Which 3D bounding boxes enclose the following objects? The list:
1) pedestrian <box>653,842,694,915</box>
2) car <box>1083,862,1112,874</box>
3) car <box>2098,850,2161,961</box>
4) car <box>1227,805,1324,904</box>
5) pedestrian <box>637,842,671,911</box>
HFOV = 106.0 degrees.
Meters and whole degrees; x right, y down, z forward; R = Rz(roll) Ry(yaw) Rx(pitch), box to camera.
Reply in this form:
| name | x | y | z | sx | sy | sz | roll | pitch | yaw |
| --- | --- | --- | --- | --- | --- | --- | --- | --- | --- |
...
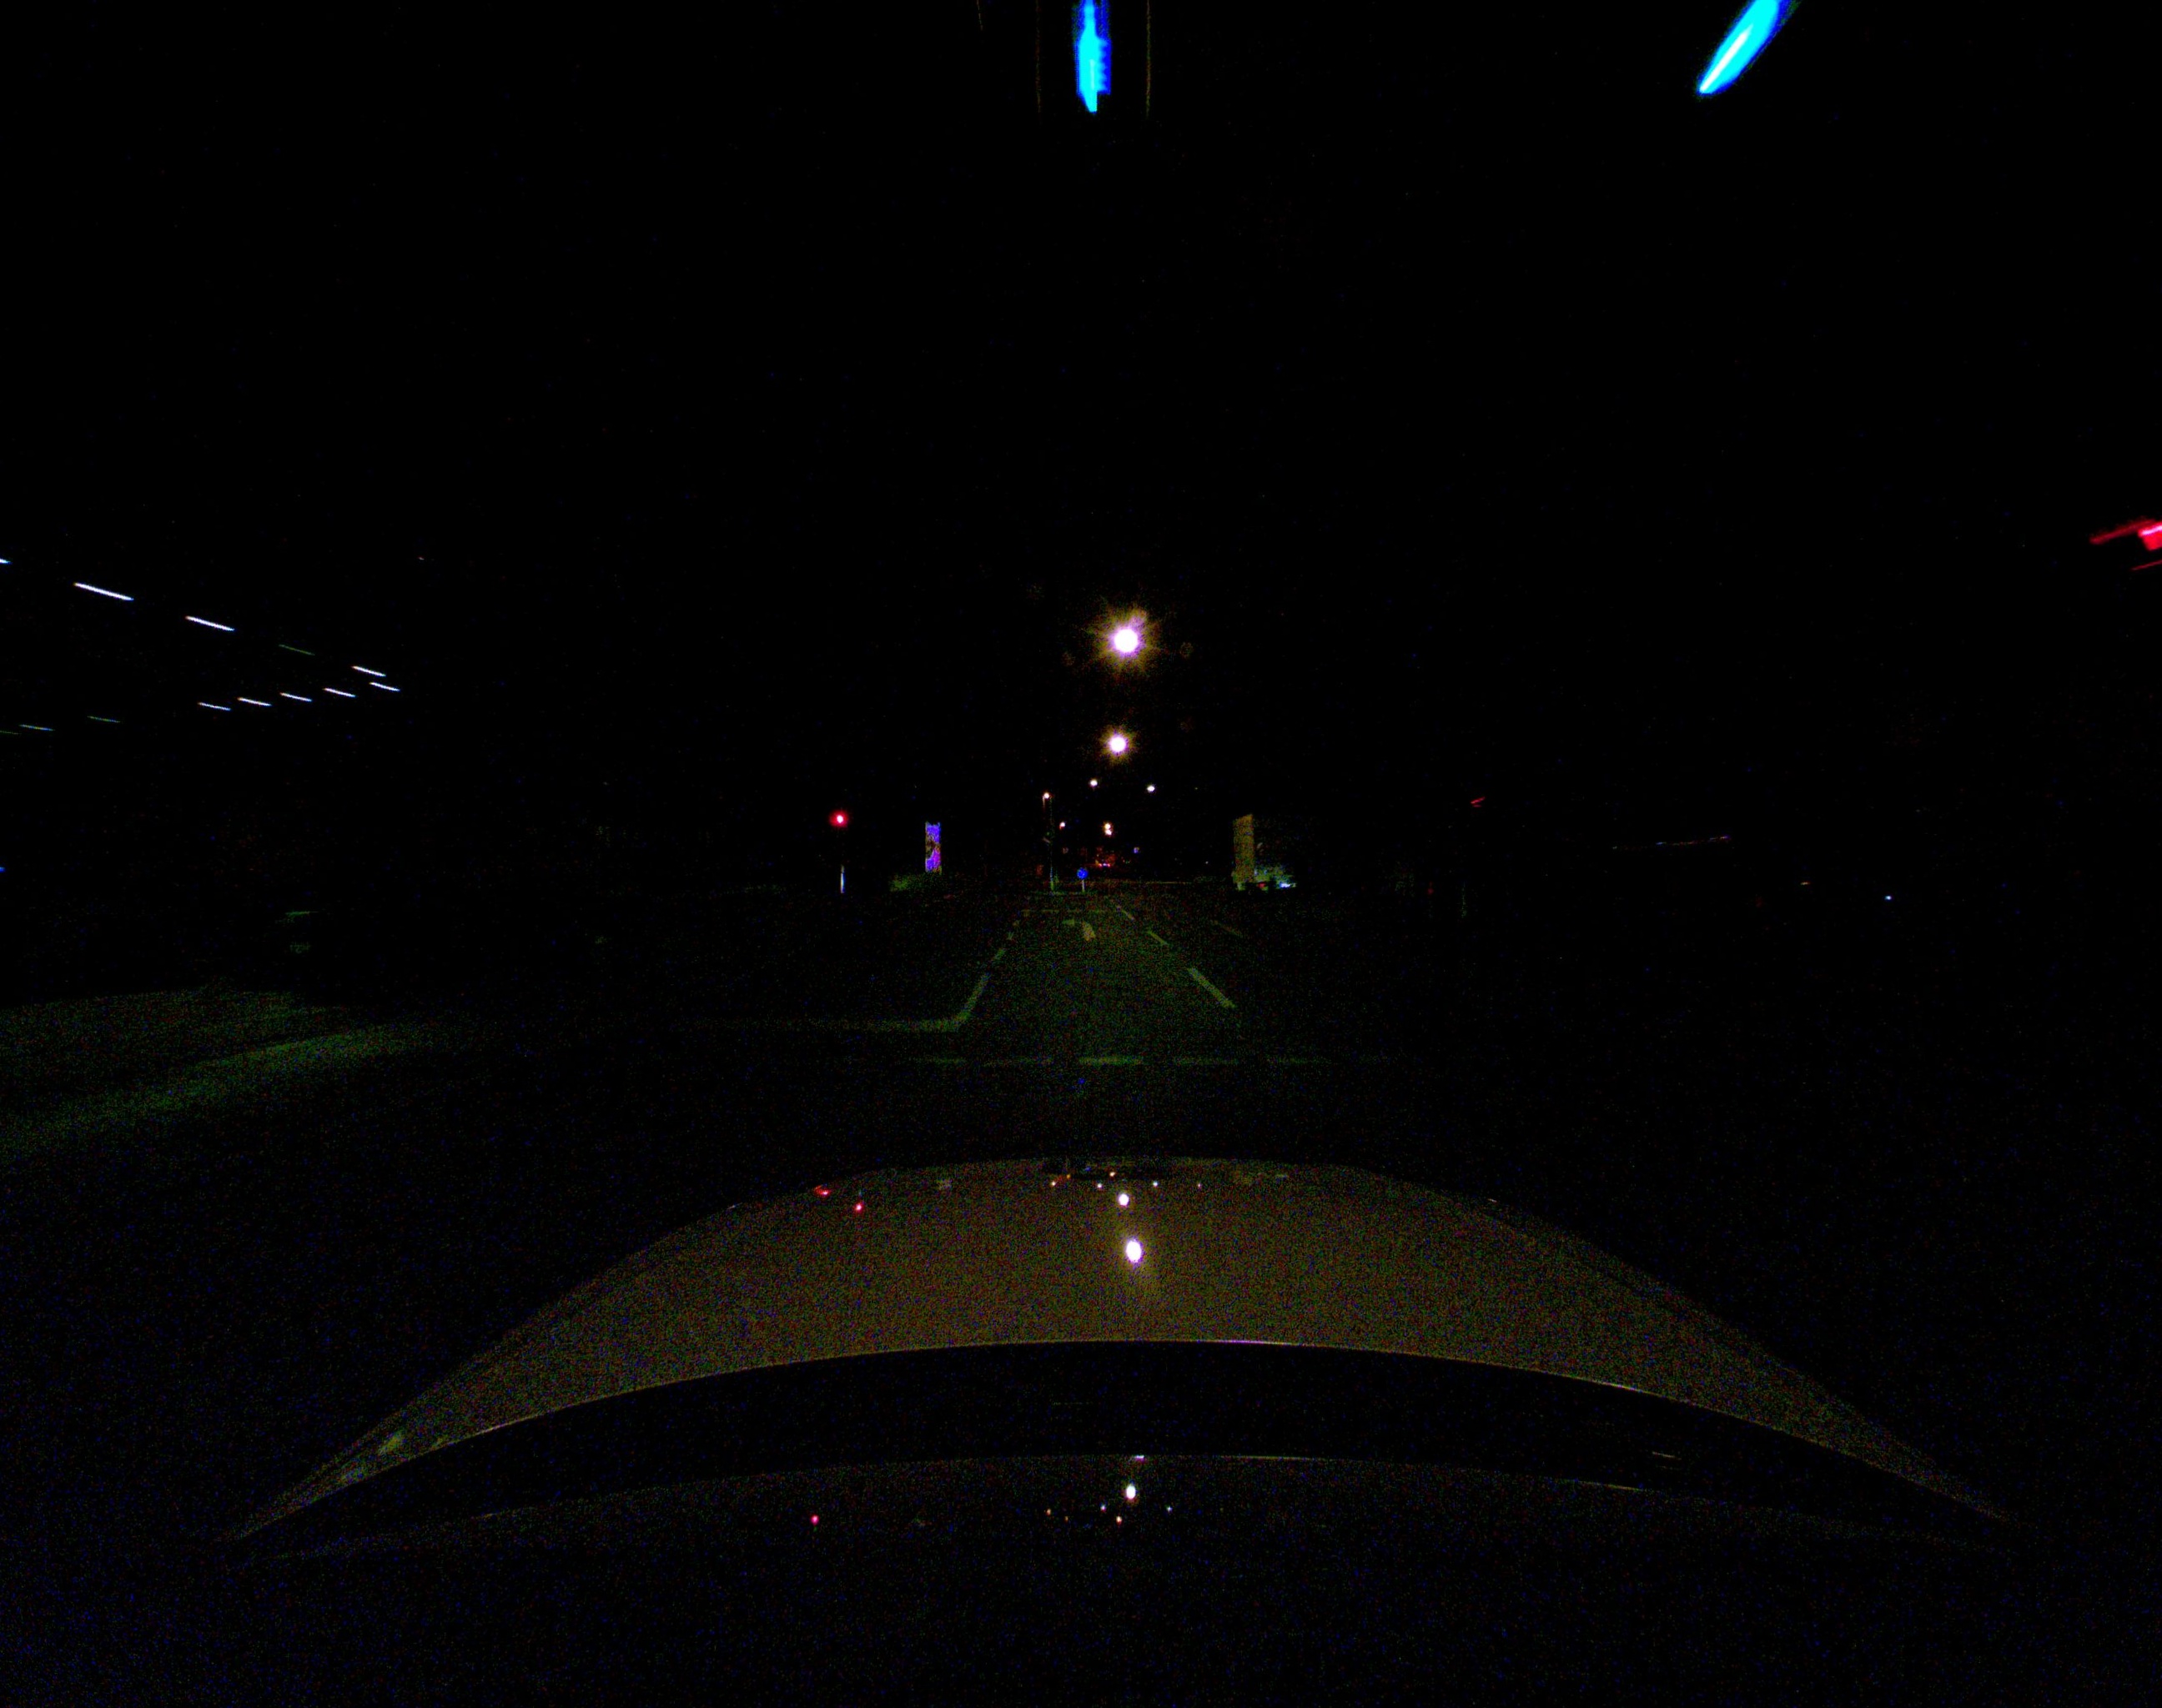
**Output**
| name | x | y | z | sx | sy | sz | roll | pitch | yaw |
| --- | --- | --- | --- | --- | --- | --- | --- | --- | --- |
| pedestrian | -10.059 | 0.598 | 20.123 | 0.568 | 1.778 | 0.737 | 1 | -1 | 2 |
| car | 2.210 | 1.902 | 110.392 | 1.790 | 1.486 | 3.953 | 0 | -1 | -39 |
| car | 17.368 | 0.661 | 11.033 | 4.342 | 1.560 | 1.807 | -2 | -3 | 9 |
| car | 6.748 | 0.050 | 29.014 | 2.287 | 3.093 | 5.845 | -2 | -1 | 4 |
| pedestrian | -10.830 | 0.559 | 20.659 | 0.568 | 1.731 | 0.544 | 0 | -1 | 2 |
